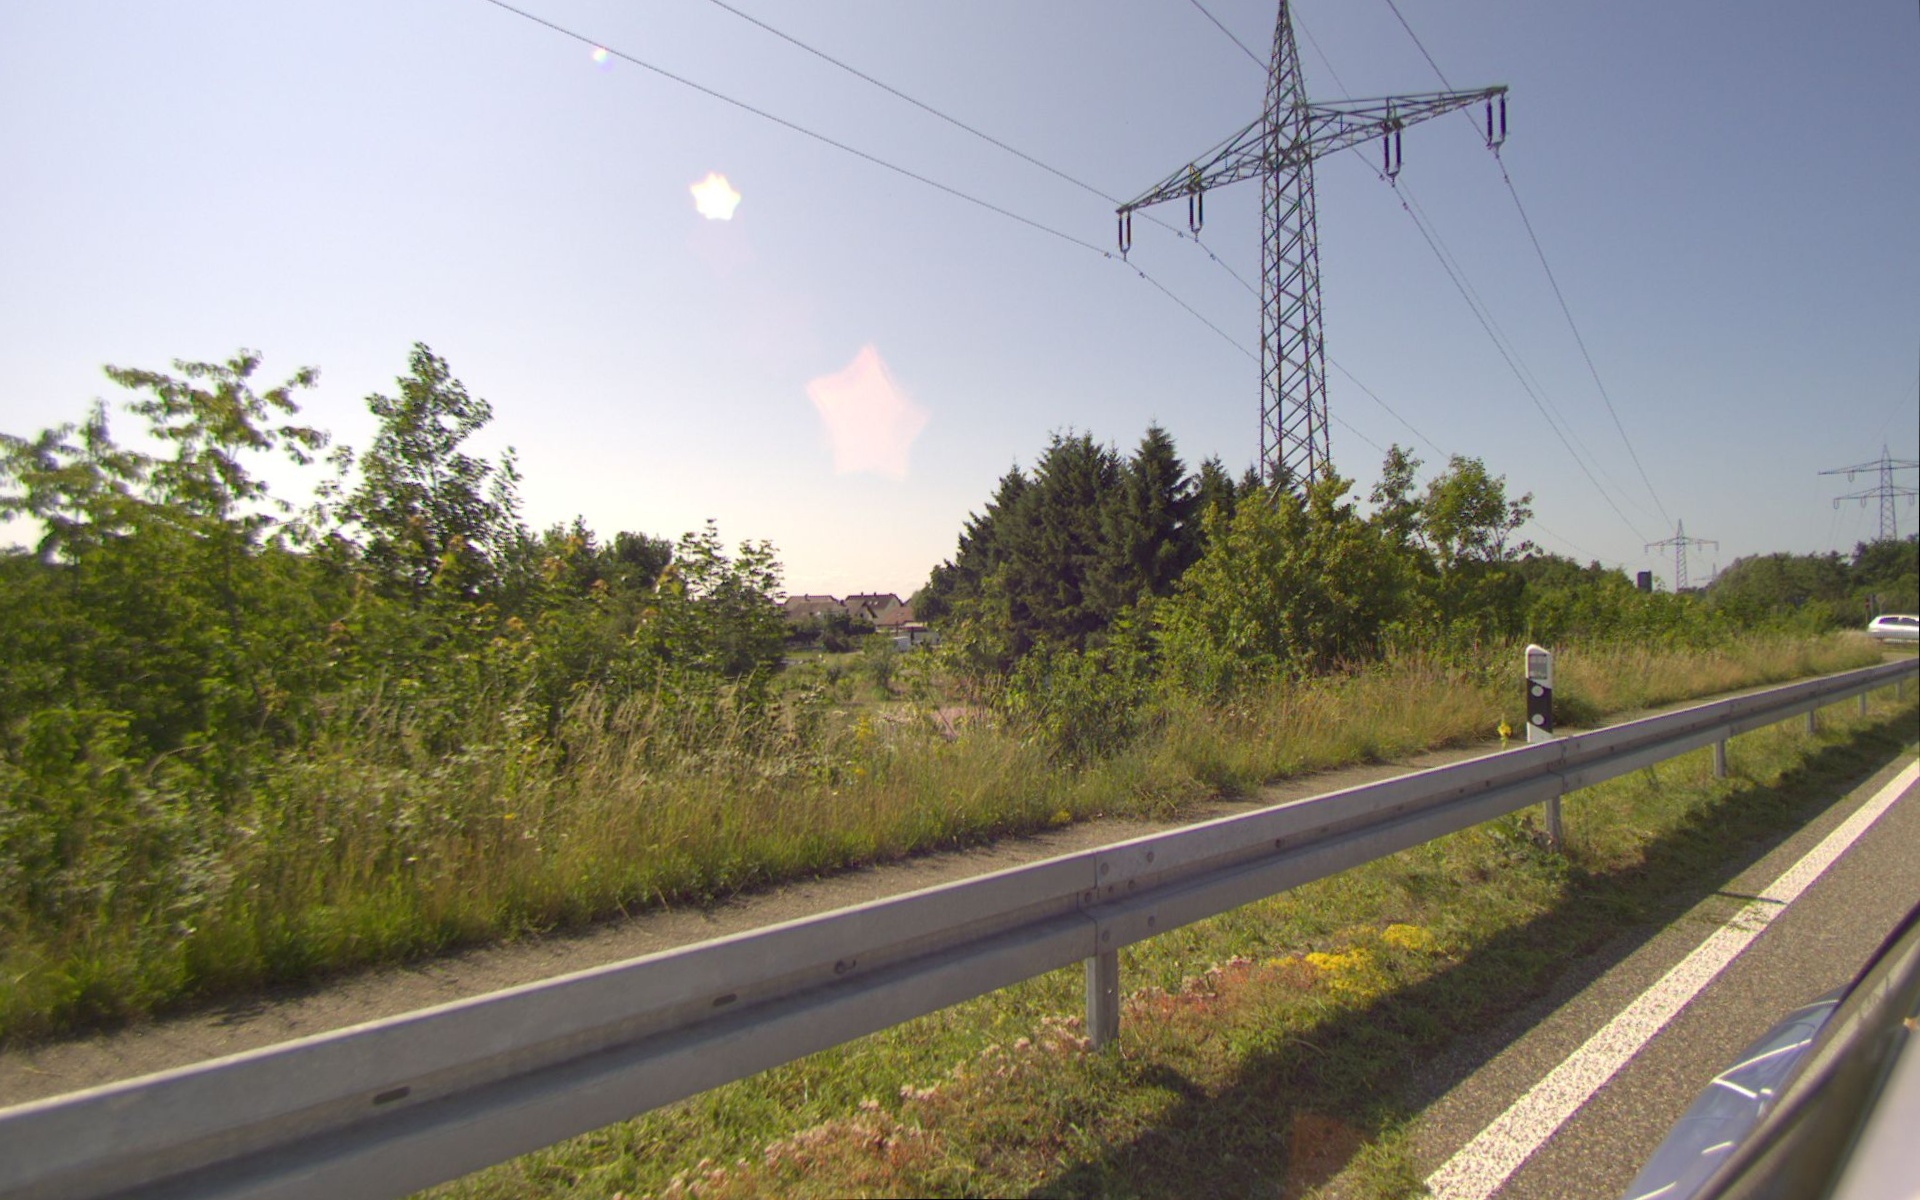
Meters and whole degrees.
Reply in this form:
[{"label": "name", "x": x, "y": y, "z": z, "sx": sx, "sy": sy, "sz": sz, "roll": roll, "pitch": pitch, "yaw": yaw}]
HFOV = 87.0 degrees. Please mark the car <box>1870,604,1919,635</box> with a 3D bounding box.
[{"label": "car", "x": 46.341, "y": 0.940, "z": 48.641, "sx": 1.517, "sy": 1.487, "sz": 3.668, "roll": 1, "pitch": 0, "yaw": -14}]
